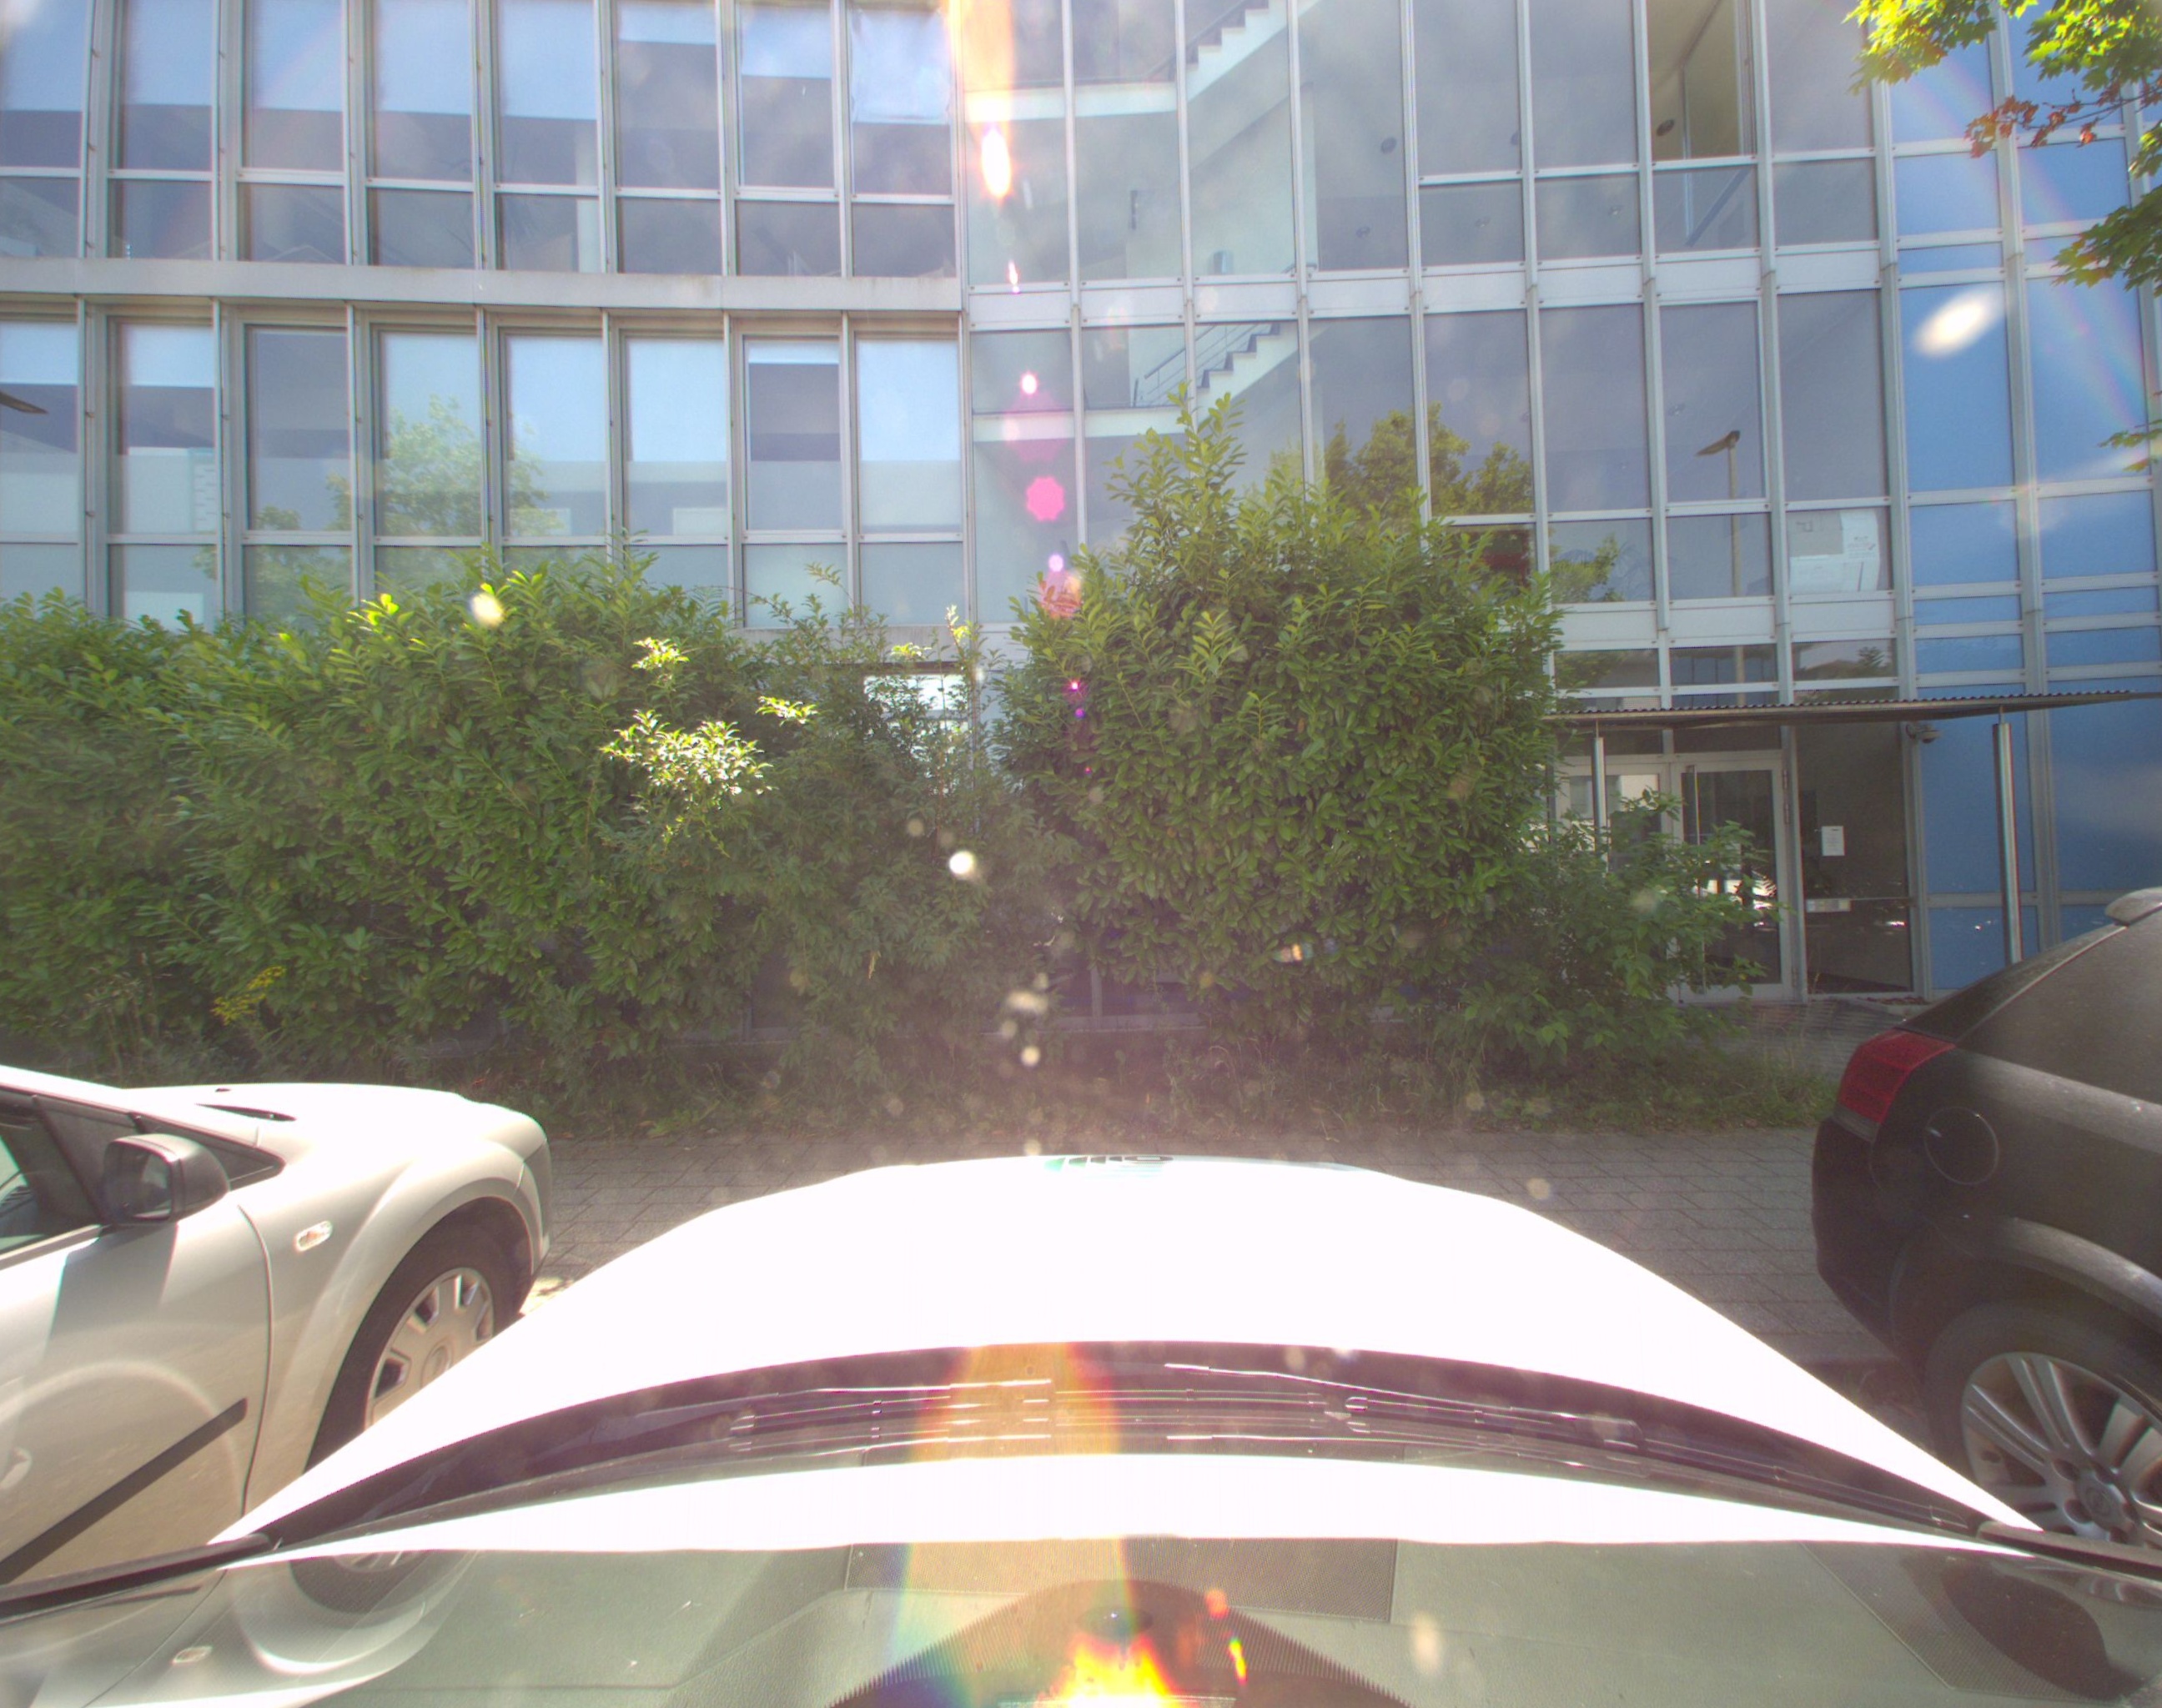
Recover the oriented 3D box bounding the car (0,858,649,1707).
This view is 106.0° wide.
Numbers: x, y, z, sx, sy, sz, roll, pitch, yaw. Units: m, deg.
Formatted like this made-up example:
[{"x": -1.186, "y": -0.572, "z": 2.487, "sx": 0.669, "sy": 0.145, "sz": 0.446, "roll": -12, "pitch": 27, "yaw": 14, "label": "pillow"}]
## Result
[{"x": -2.242, "y": 0.754, "z": 0.489, "sx": 1.714, "sy": 1.479, "sz": 4.346, "roll": -1, "pitch": 0, "yaw": -1, "label": "car"}]
